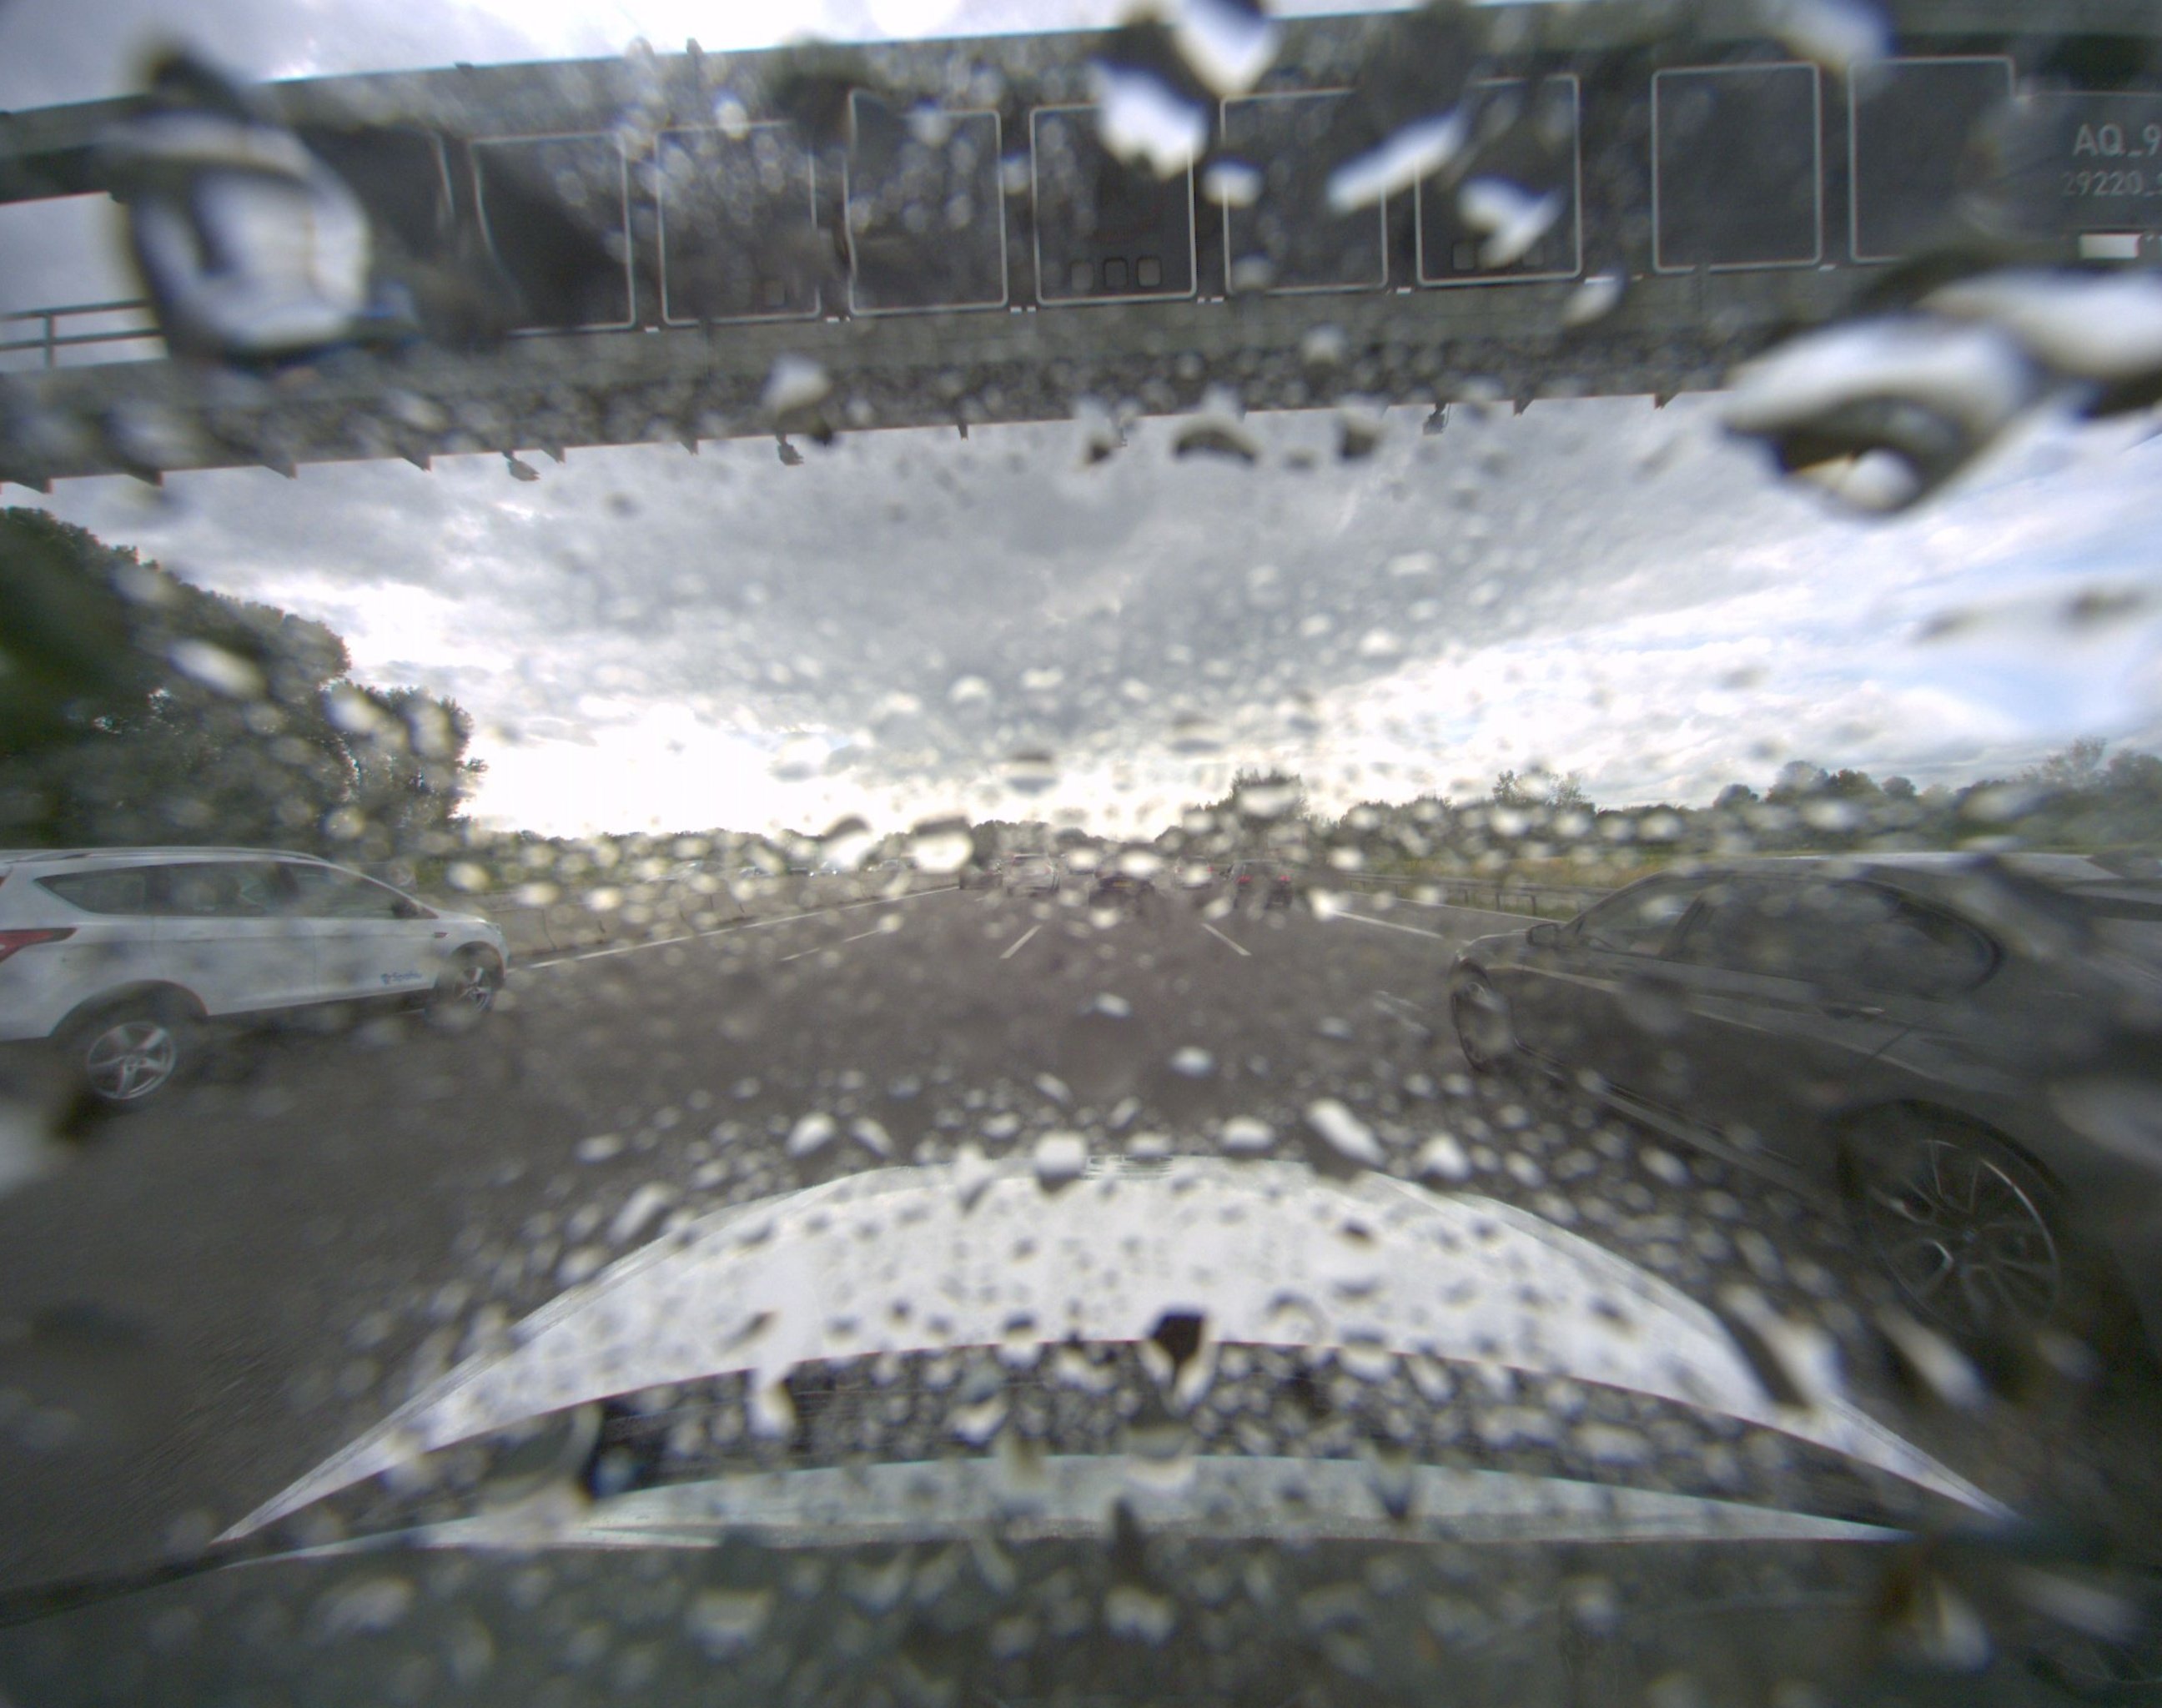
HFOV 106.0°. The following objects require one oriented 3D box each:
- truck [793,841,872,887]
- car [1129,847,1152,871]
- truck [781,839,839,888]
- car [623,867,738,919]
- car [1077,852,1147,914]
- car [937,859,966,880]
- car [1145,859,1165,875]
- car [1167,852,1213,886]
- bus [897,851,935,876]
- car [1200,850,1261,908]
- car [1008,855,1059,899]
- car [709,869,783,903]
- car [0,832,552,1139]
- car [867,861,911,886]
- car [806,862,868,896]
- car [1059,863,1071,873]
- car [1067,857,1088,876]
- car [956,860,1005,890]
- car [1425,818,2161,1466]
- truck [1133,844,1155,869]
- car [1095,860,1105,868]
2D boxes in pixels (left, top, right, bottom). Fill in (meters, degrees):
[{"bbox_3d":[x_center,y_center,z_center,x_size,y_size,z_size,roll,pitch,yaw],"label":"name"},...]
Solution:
[{"bbox_3d":[-25.070,0.977,83.247,3.135,4.313,13.959,-1,0,2],"label":"truck"},{"bbox_3d":[7.425,0.626,102.483,2.557,2.895,7.536,-1,0,2],"label":"car"},{"bbox_3d":[-25.338,0.894,76.411,3.106,4.282,5.915,-2,-1,3],"label":"truck"},{"bbox_3d":[-16.103,1.499,33.089,1.986,1.885,5.187,-1,0,1],"label":"car"},{"bbox_3d":[0.802,0.779,23.693,1.776,1.613,4.595,-1,0,-1],"label":"car"},{"bbox_3d":[-13.260,1.568,83.889,1.985,2.014,4.766,-1,0,3],"label":"car"},{"bbox_3d":[7.100,1.209,78.279,1.787,1.477,4.041,-1,0,4],"label":"car"},{"bbox_3d":[5.357,0.715,40.570,1.803,1.599,4.698,-1,0,2],"label":"car"},{"bbox_3d":[-23.778,1.355,117.944,2.819,3.332,9.972,-1,0,3],"label":"bus"},{"bbox_3d":[4.709,0.737,25.626,1.696,1.631,4.470,-1,0,10],"label":"car"},{"bbox_3d":[-1.972,0.933,34.947,1.774,1.716,4.354,-1,0,2],"label":"car"},{"bbox_3d":[-19.478,1.825,47.578,1.985,1.704,5.081,-2,0,2],"label":"car"},{"bbox_3d":[-6.781,0.749,6.457,1.808,1.689,4.854,-2,0,2],"label":"car"},{"bbox_3d":[-15.100,1.509,64.219,1.985,1.853,5.081,-2,0,2],"label":"car"},{"bbox_3d":[-14.592,1.456,49.073,1.986,1.898,5.189,-1,0,2],"label":"car"},{"bbox_3d":[-2.329,2.060,119.312,1.557,1.477,3.921,-1,0,2],"label":"car"},{"bbox_3d":[-0.308,1.178,78.053,1.874,1.686,4.001,-1,0,1],"label":"car"},{"bbox_3d":[-5.371,1.101,44.033,1.773,1.481,4.358,-1,0,4],"label":"car"},{"bbox_3d":[3.494,0.659,3.703,1.932,1.491,4.777,-1,0,1],"label":"car"},{"bbox_3d":[9.811,0.427,127.059,3.120,3.709,9.855,-1,0,3],"label":"truck"},{"bbox_3d":[3.972,2.037,168.976,1.874,1.686,4.001,-1,0,1],"label":"car"}]
